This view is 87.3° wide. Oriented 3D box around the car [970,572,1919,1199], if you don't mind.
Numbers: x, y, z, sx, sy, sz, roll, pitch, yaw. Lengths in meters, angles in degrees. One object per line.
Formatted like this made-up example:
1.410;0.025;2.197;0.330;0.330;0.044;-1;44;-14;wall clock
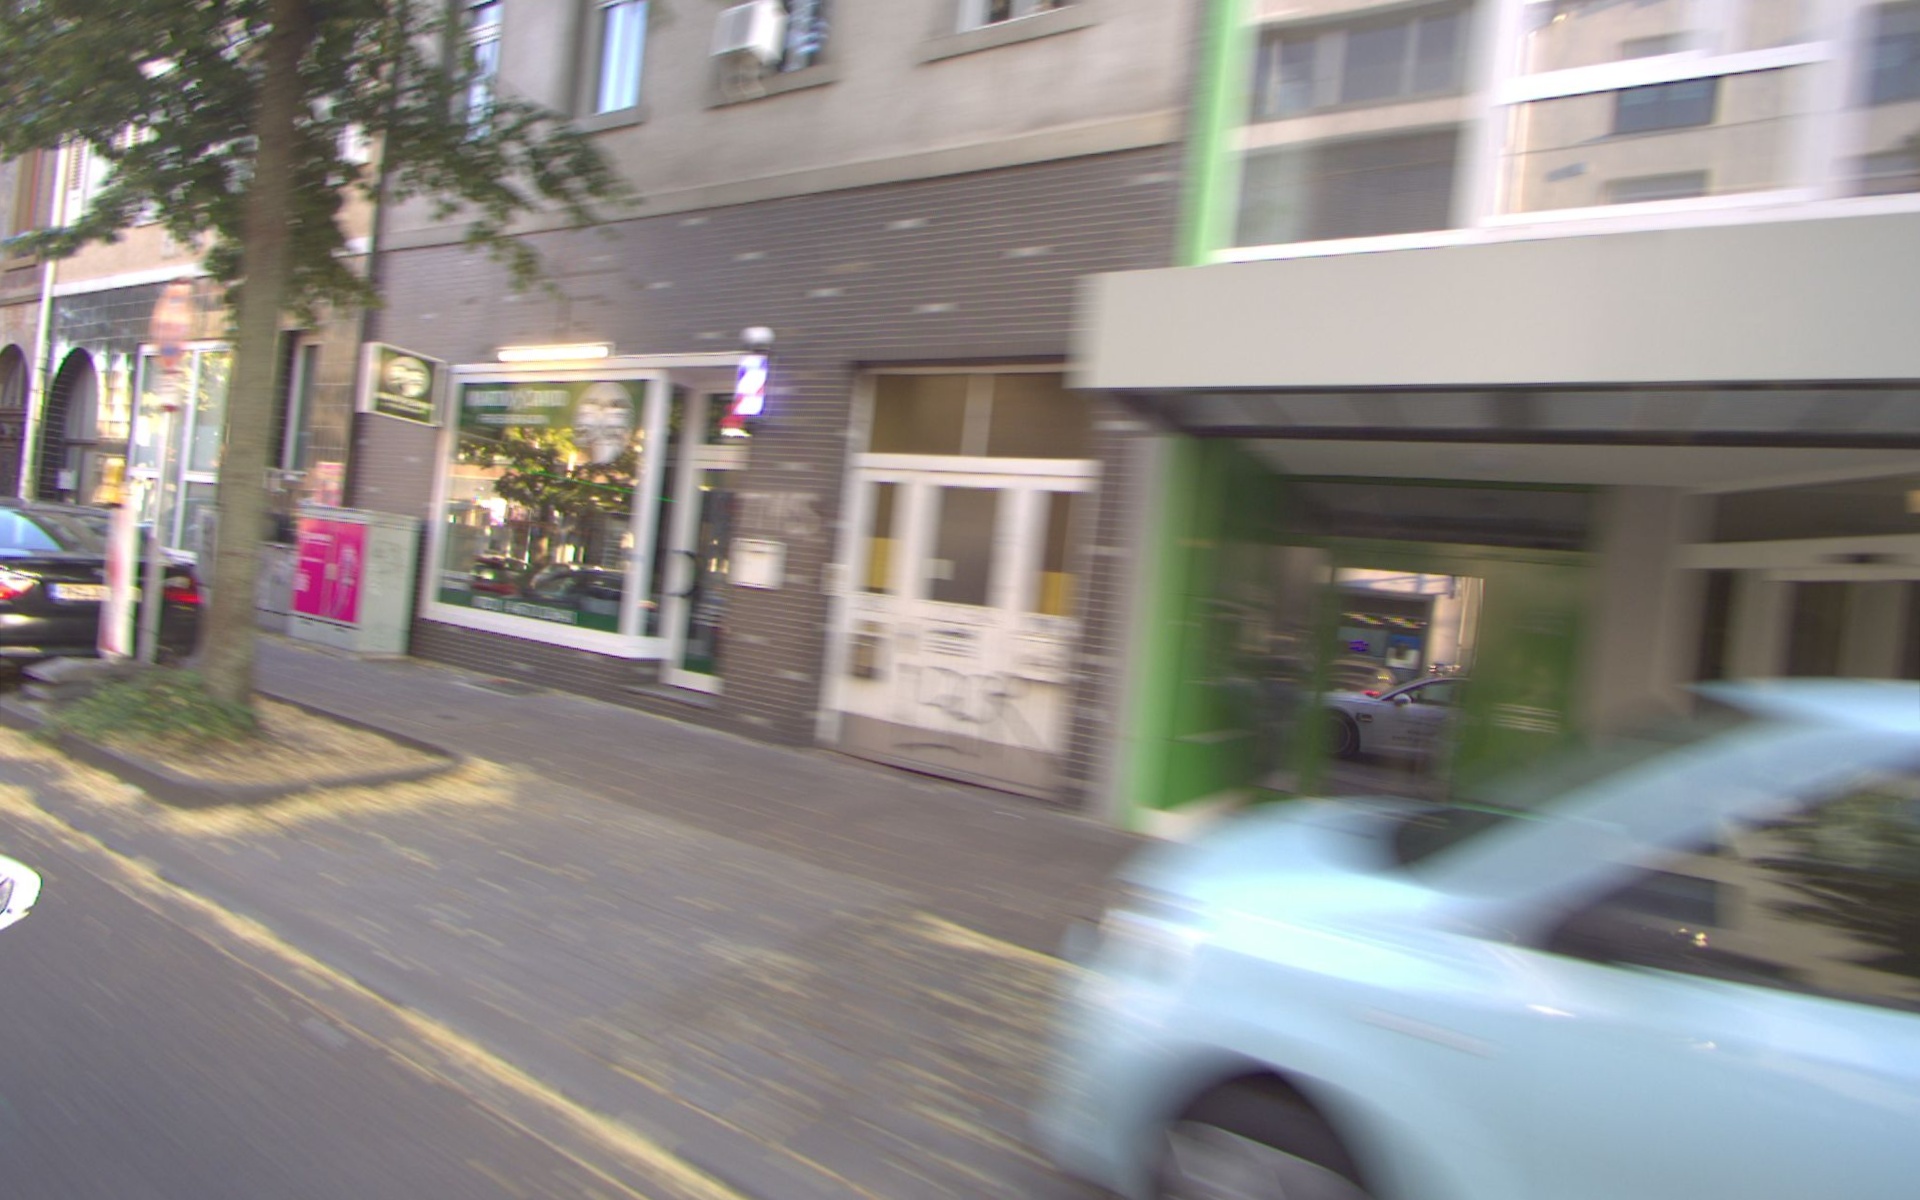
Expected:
2.004;0.926;2.138;3.493;1.563;1.692;7;2;31;car

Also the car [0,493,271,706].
-8.165;-0.171;8.607;4.348;1.409;1.953;7;2;29;car
